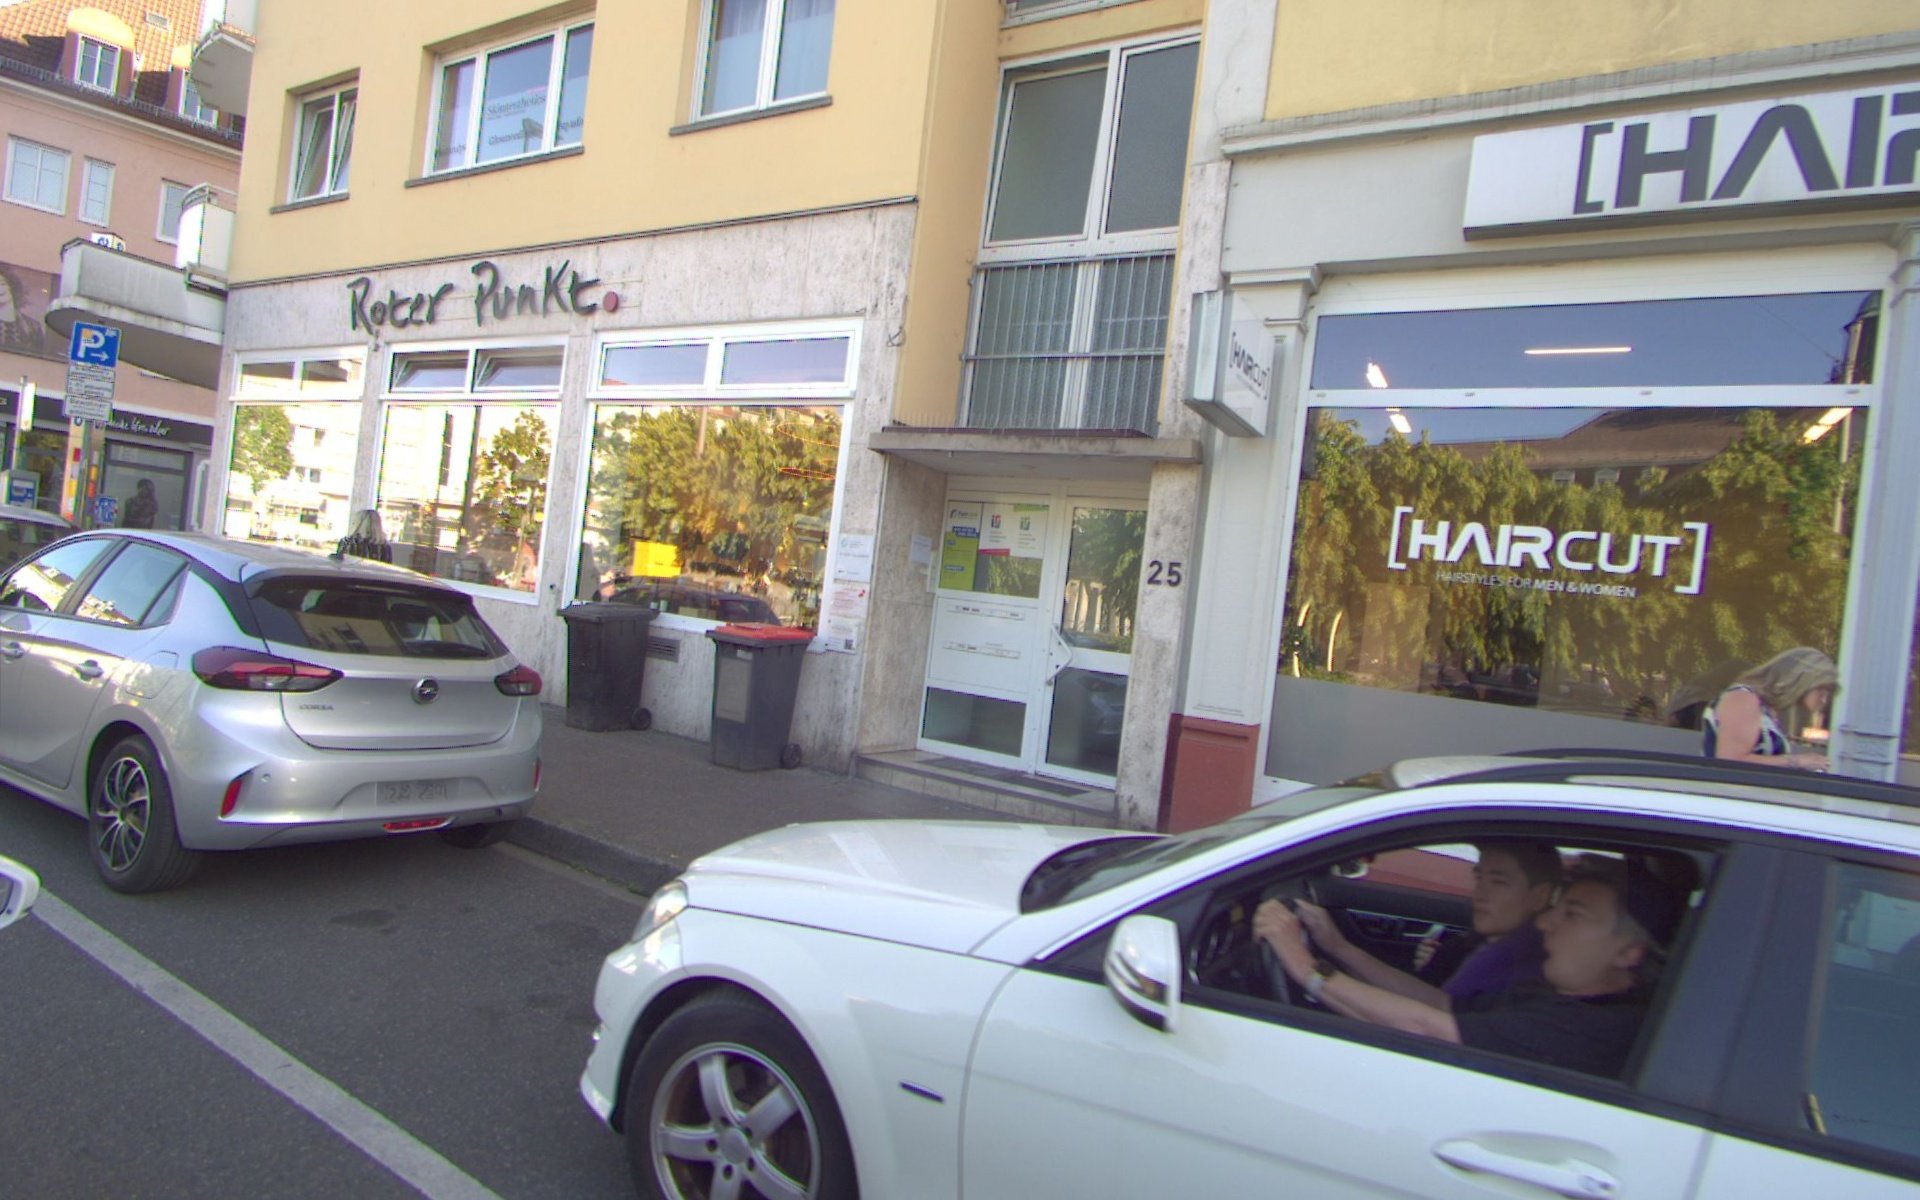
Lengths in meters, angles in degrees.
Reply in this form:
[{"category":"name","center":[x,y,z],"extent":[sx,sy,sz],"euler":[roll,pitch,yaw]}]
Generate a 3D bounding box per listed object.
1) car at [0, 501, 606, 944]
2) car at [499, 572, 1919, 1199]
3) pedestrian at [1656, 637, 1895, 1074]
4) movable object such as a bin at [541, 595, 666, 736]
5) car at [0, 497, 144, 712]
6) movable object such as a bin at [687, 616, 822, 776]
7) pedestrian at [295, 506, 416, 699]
[{"category":"car","center":[-3.965,0.354,5.255],"extent":[4.008,1.444,1.673],"euler":[7,-1,30]},{"category":"car","center":[1.236,0.953,2.141],"extent":[4.389,1.464,1.741],"euler":[7,-1,31]},{"category":"pedestrian","center":[3.464,1.022,4.342],"extent":[0.523,1.653,0.697],"euler":[7,1,29]},{"category":"movable object such as a bin","center":[-3.023,0.539,8.539],"extent":[0.609,1.082,0.703],"euler":[7,3,31]},{"category":"car","center":[-7.968,-0.160,7.573],"extent":[3.822,1.411,1.624],"euler":[7,-1,33]},{"category":"movable object such as a bin","center":[-1.551,0.702,7.637],"extent":[0.609,1.082,0.703],"euler":[7,3,31]},{"category":"pedestrian","center":[-5.485,0.022,9.132],"extent":[0.618,1.654,0.661],"euler":[7,2,36]}]
